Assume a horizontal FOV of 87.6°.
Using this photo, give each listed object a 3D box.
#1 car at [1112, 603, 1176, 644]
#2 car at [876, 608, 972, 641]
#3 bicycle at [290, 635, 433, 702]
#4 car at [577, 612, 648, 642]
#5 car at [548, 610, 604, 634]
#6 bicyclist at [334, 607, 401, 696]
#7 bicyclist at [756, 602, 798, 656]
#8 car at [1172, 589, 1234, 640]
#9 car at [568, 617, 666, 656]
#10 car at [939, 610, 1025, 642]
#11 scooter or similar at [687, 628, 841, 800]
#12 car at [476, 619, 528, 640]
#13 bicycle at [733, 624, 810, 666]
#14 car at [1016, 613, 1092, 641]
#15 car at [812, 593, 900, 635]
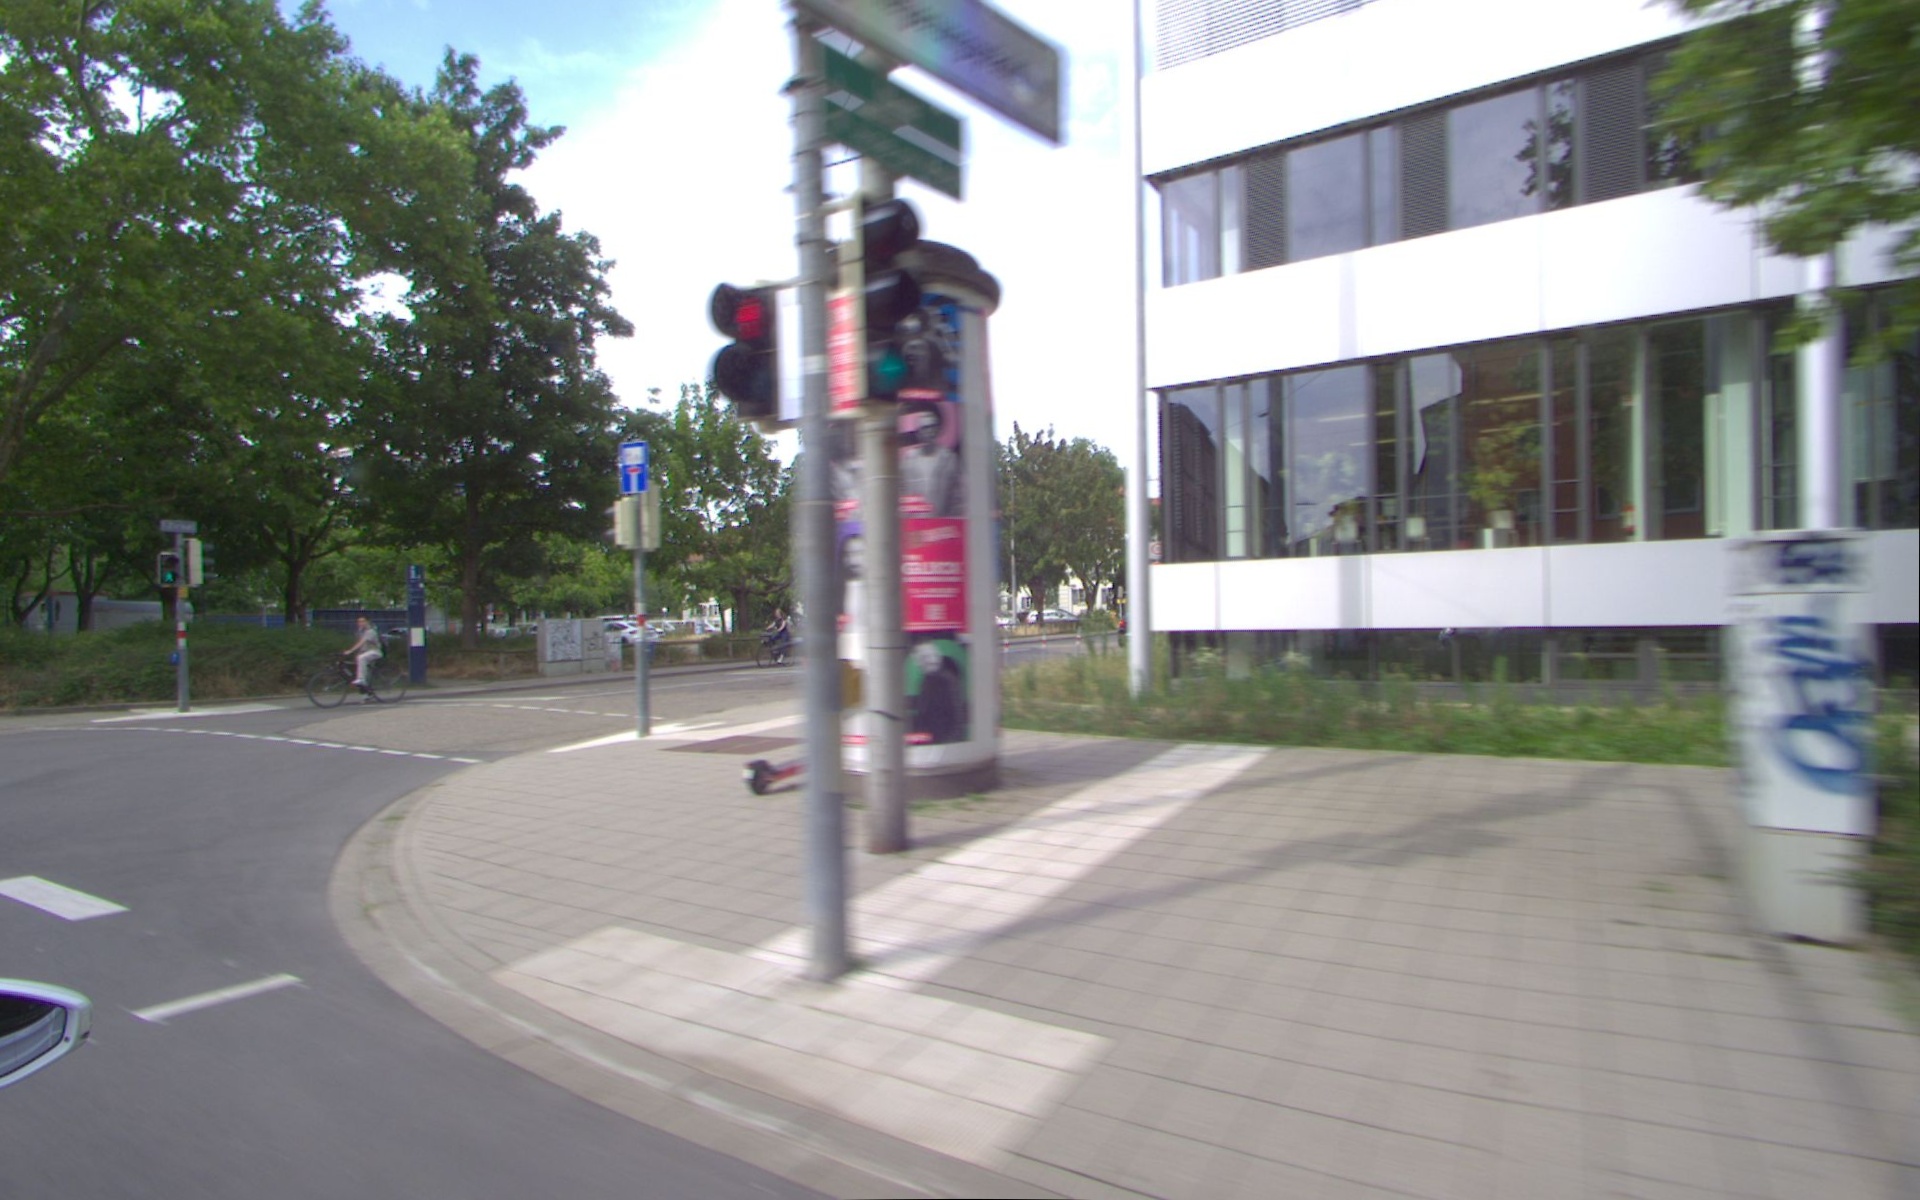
[{"bbox_3d":[7.084,0.936,38.307,1.648,1.462,3.644,-1,-2,23],"label":"car"},{"bbox_3d":[-1.875,1.311,51.922,4.707,1.651,1.990,-2,-3,34],"label":"car"},{"bbox_3d":[-11.747,1.318,19.727,0.904,1.187,2.237,-3,-2,36],"label":"bicycle"},{"bbox_3d":[-24.087,1.894,69.347,4.699,2.039,1.993,-1,-2,27],"label":"car"},{"bbox_3d":[-33.099,1.917,86.279,4.701,2.039,1.992,-1,-2,29],"label":"car"},{"bbox_3d":[-11.715,1.011,19.797,0.904,1.699,0.826,-3,-1,36],"label":"bicyclist"},{"bbox_3d":[-5.541,0.869,30.350,0.904,1.597,0.826,-3,-1,36],"label":"bicyclist"},{"bbox_3d":[10.258,0.663,42.074,1.966,2.039,3.991,-1,-2,23],"label":"car"},{"bbox_3d":[-16.976,1.818,49.505,4.701,1.816,1.992,-1,-2,29],"label":"car"},{"bbox_3d":[1.285,1.575,58.909,4.702,1.816,1.992,-1,-2,30],"label":"car"},{"bbox_3d":[-1.559,0.877,8.137,0.340,1.225,1.301,-1,1,36],"label":"scooter or similar"},{"bbox_3d":[-36.545,2.353,79.893,3.732,1.600,1.992,-1,-2,29],"label":"car"},{"bbox_3d":[-5.663,1.344,30.148,0.904,1.187,2.237,-3,-2,36],"label":"bicycle"},{"bbox_3d":[6.296,1.854,67.081,4.701,1.816,1.992,-1,-2,29],"label":"car"},{"bbox_3d":[-6.928,0.959,66.556,5.414,2.646,2.433,-1,-2,30],"label":"car"}]
